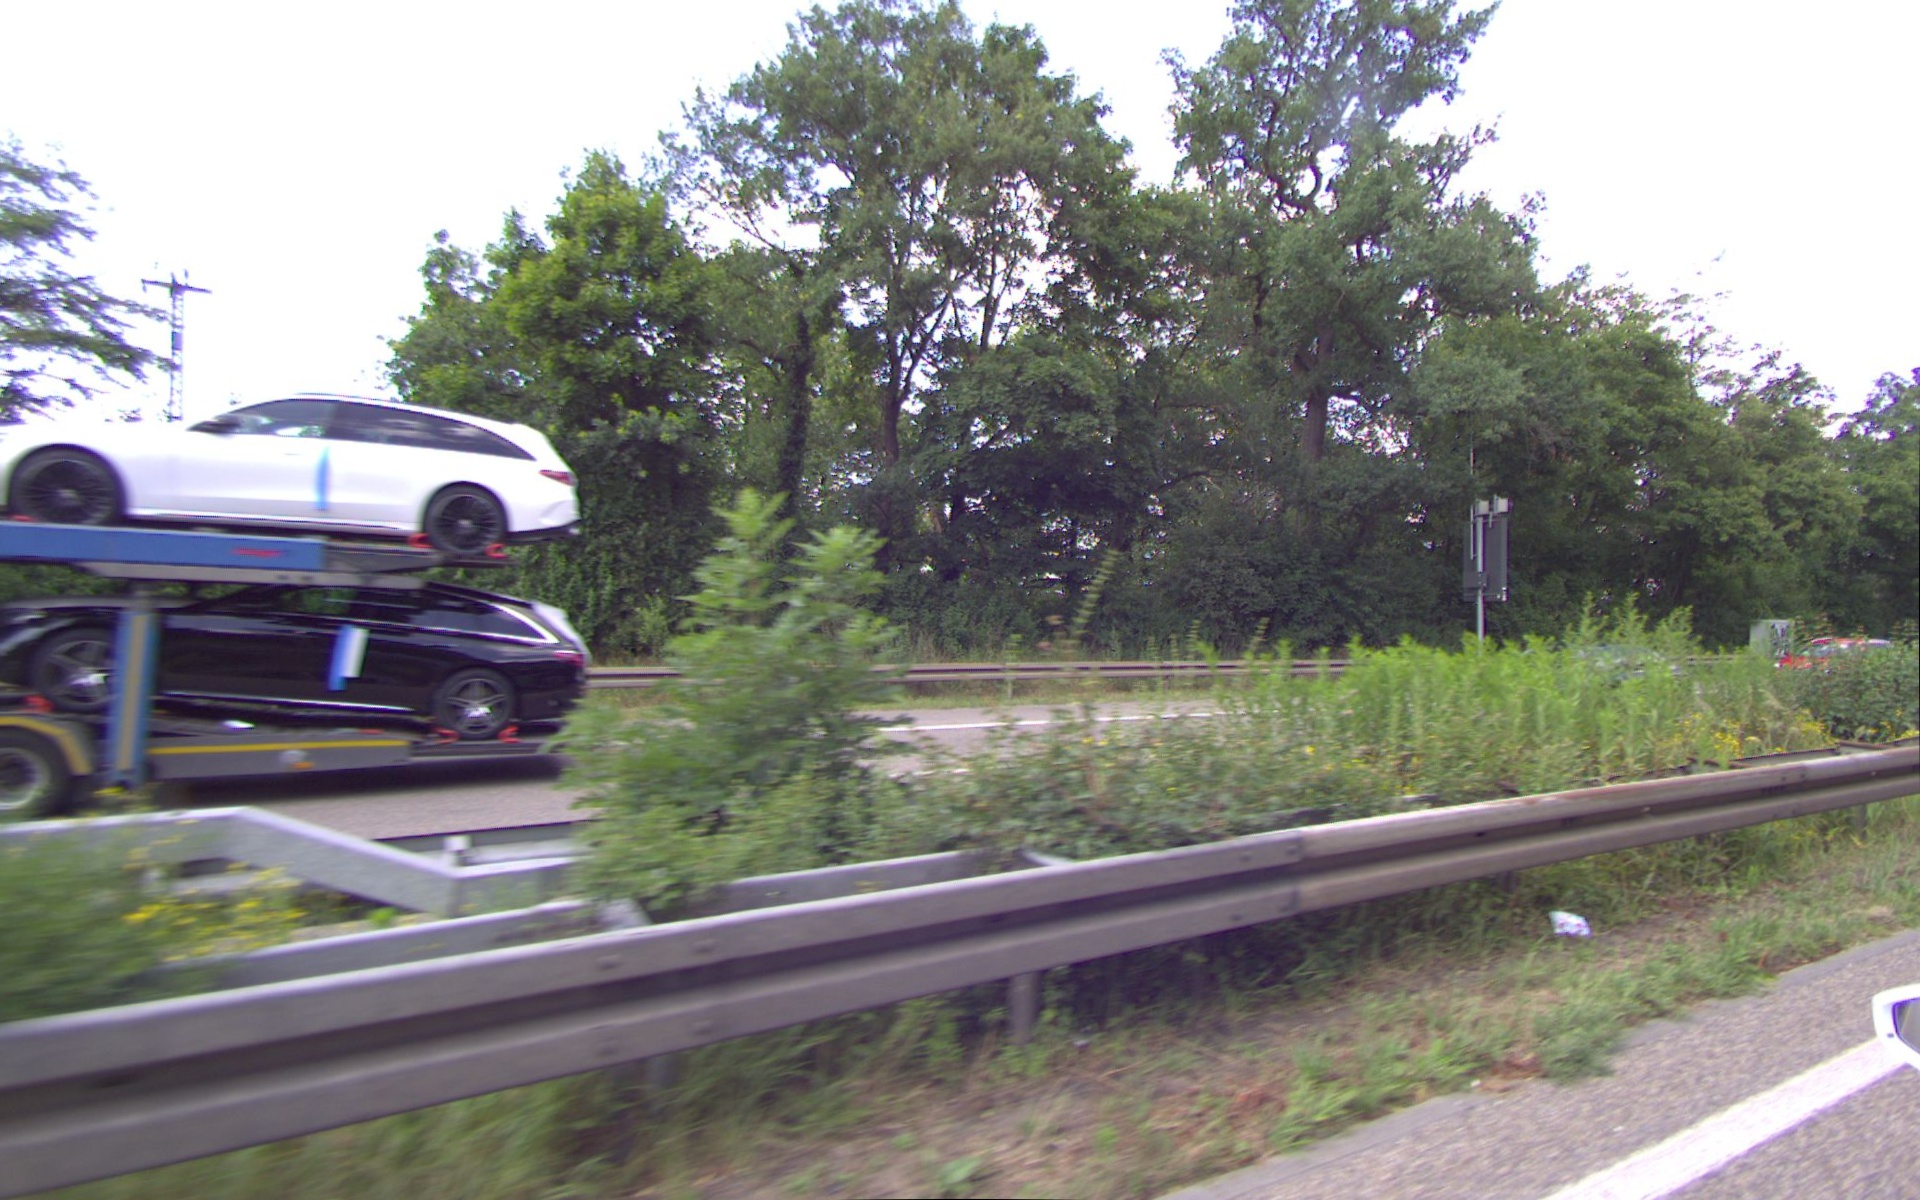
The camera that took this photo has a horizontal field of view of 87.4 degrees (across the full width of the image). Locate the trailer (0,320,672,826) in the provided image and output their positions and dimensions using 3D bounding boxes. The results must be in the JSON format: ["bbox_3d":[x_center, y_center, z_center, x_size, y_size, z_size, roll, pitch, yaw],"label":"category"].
[{"bbox_3d":[-8.076,-0.175,8.975,10.192,3.883,2.923,1,-2,-31],"label":"trailer"}]

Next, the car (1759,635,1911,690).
[{"bbox_3d":[23.767,1.639,27.265,4.200,1.371,1.855,1,-1,-30],"label":"car"}]
